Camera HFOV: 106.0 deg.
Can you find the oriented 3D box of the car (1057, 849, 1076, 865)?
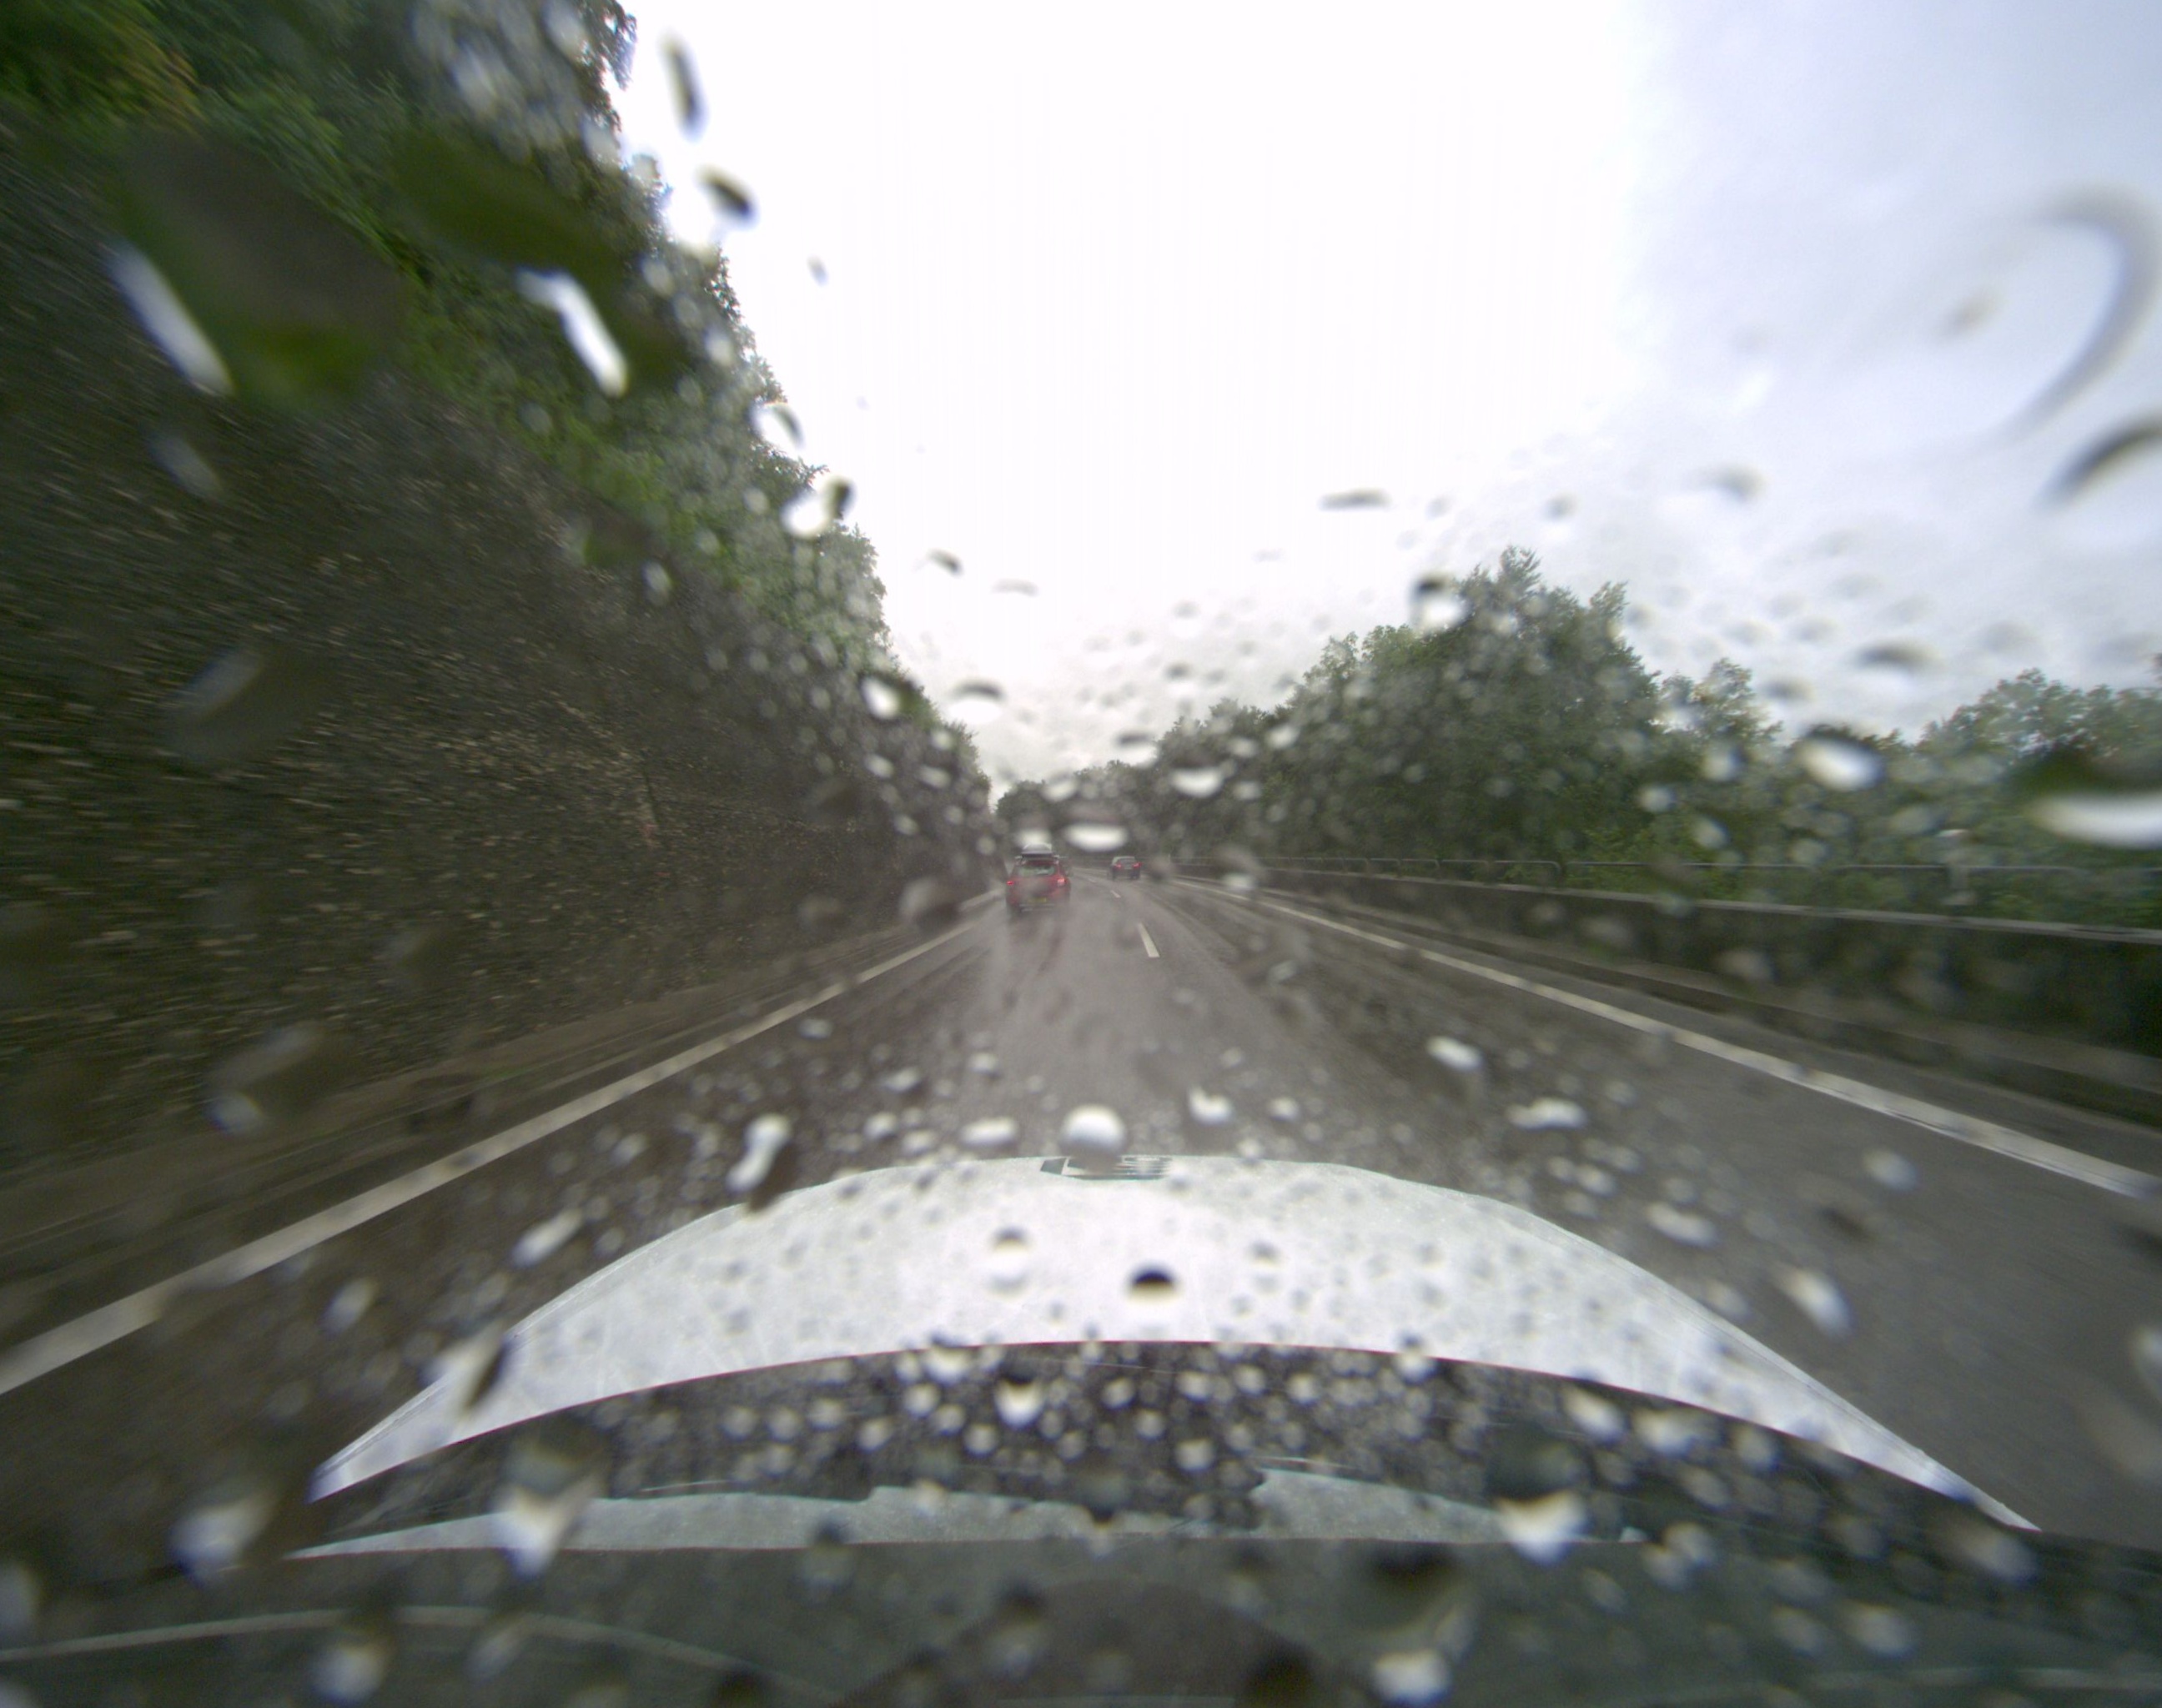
[{"bbox_3d":[-1.582,0.361,88.764,1.988,1.750,3.997,-1,-1,-2],"label":"car"}]

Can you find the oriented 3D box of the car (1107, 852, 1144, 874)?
[{"bbox_3d":[2.833,0.586,53.029,1.798,1.307,3.992,-1,0,-6],"label":"car"}]

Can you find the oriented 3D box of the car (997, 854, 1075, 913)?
[{"bbox_3d":[-1.234,0.798,23.897,1.987,1.552,4.000,-1,0,1],"label":"car"}]
